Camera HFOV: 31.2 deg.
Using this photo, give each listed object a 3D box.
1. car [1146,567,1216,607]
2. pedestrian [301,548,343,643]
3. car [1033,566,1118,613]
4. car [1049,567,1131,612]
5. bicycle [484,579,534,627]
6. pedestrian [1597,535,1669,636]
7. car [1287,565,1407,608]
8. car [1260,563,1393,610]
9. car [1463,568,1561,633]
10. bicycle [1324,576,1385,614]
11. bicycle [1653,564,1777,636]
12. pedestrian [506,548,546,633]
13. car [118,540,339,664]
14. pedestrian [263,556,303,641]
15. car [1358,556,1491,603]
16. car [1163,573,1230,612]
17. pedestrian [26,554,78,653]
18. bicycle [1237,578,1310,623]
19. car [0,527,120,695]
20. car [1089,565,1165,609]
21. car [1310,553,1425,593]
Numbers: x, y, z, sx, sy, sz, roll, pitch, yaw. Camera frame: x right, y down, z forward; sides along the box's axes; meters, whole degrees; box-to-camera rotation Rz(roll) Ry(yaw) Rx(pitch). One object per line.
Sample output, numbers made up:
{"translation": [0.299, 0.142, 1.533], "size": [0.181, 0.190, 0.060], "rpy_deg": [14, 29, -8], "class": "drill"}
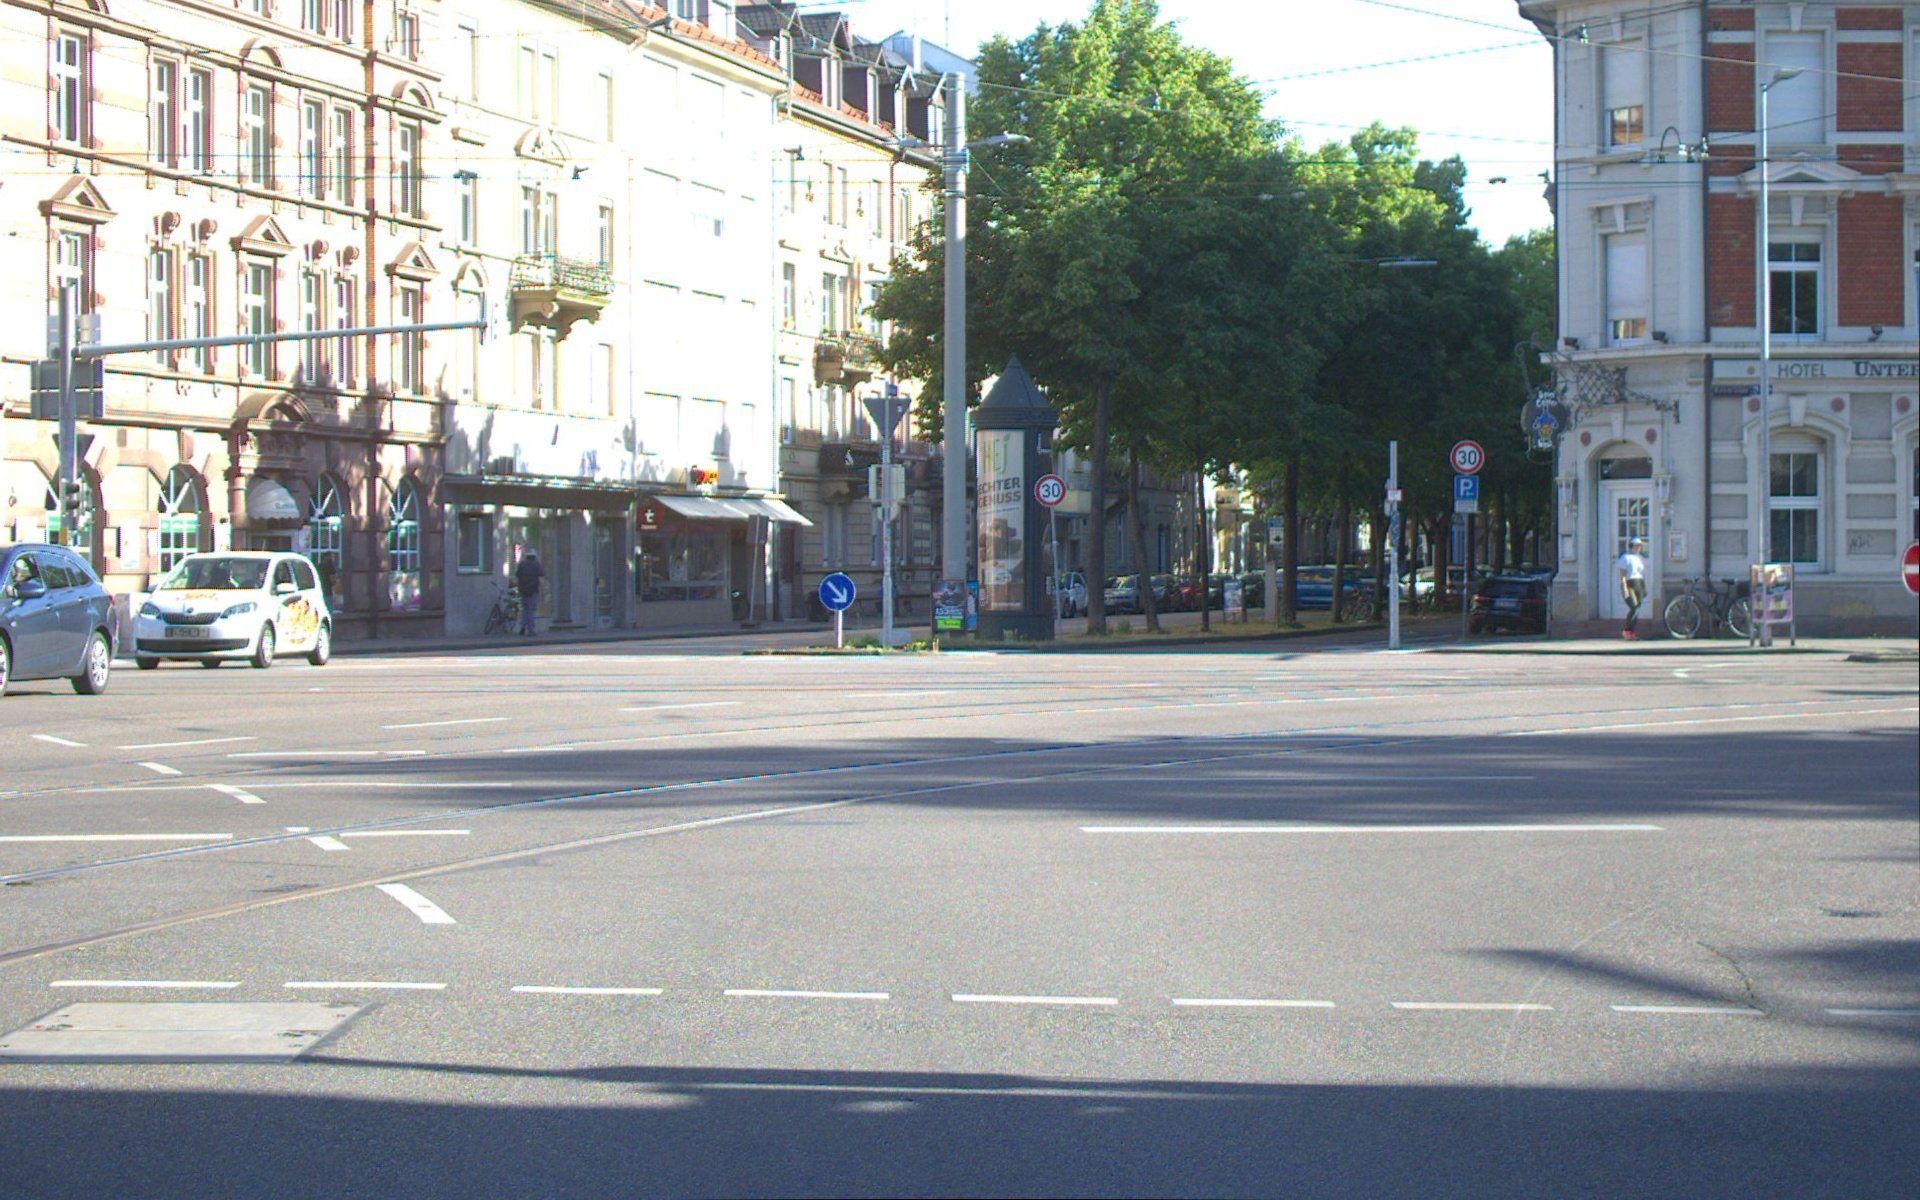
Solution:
{"translation": [8.520, -0.508, 132.270], "size": [1.995, 1.492, 4.031], "rpy_deg": [0, 1, 14], "class": "car"}
{"translation": [-12.441, -0.092, 67.065], "size": [0.580, 1.830, 0.632], "rpy_deg": [0, 1, 16], "class": "pedestrian"}
{"translation": [3.806, -0.347, 112.883], "size": [1.995, 1.492, 4.031], "rpy_deg": [0, 1, 14], "class": "car"}
{"translation": [4.428, -0.370, 116.746], "size": [1.995, 1.492, 4.031], "rpy_deg": [0, 1, 14], "class": "car"}
{"translation": [-10.433, 0.064, 79.563], "size": [0.495, 1.063, 1.768], "rpy_deg": [0, 1, 16], "class": "bicycle"}
{"translation": [11.236, -0.241, 57.359], "size": [0.939, 1.664, 0.716], "rpy_deg": [1, 1, 45], "class": "pedestrian"}
{"translation": [14.441, -0.504, 128.314], "size": [3.993, 1.540, 1.997], "rpy_deg": [0, 1, 28], "class": "car"}
{"translation": [12.318, -0.462, 115.673], "size": [3.993, 1.540, 1.997], "rpy_deg": [0, 1, 28], "class": "car"}
{"translation": [13.267, -0.008, 82.425], "size": [1.995, 1.492, 4.031], "rpy_deg": [0, 1, 14], "class": "car"}
{"translation": [11.376, -0.139, 99.260], "size": [0.582, 1.063, 1.949], "rpy_deg": [-1, 1, -37], "class": "bicycle"}
{"translation": [12.553, -0.004, 57.186], "size": [1.961, 1.186, 0.546], "rpy_deg": [0, 1, 5], "class": "bicycle"}
{"translation": [-9.857, -0.218, 78.088], "size": [0.682, 1.902, 0.632], "rpy_deg": [0, 1, 16], "class": "pedestrian"}
{"translation": [-9.129, -0.003, 43.155], "size": [1.718, 1.492, 3.583], "rpy_deg": [0, 1, 5], "class": "car"}
{"translation": [-13.017, -0.029, 66.133], "size": [0.551, 1.636, 0.537], "rpy_deg": [0, 1, 19], "class": "pedestrian"}
{"translation": [15.734, -0.704, 116.462], "size": [3.994, 1.540, 1.997], "rpy_deg": [0, 1, 31], "class": "car"}
{"translation": [9.410, -0.324, 136.541], "size": [1.995, 1.492, 4.031], "rpy_deg": [0, 1, 14], "class": "car"}
{"translation": [-15.118, 0.060, 57.238], "size": [0.631, 1.636, 0.552], "rpy_deg": [0, 1, 13], "class": "pedestrian"}
{"translation": [7.545, 0.000, 82.767], "size": [0.582, 1.063, 1.949], "rpy_deg": [-1, 1, -37], "class": "bicycle"}
{"translation": [-9.336, 0.085, 31.726], "size": [1.774, 1.492, 4.573], "rpy_deg": [0, 1, 4], "class": "car"}
{"translation": [5.975, -0.482, 122.605], "size": [1.995, 1.492, 4.031], "rpy_deg": [0, 1, 14], "class": "car"}
{"translation": [15.934, -1.045, 134.418], "size": [3.993, 1.540, 1.997], "rpy_deg": [0, 1, 28], "class": "car"}
